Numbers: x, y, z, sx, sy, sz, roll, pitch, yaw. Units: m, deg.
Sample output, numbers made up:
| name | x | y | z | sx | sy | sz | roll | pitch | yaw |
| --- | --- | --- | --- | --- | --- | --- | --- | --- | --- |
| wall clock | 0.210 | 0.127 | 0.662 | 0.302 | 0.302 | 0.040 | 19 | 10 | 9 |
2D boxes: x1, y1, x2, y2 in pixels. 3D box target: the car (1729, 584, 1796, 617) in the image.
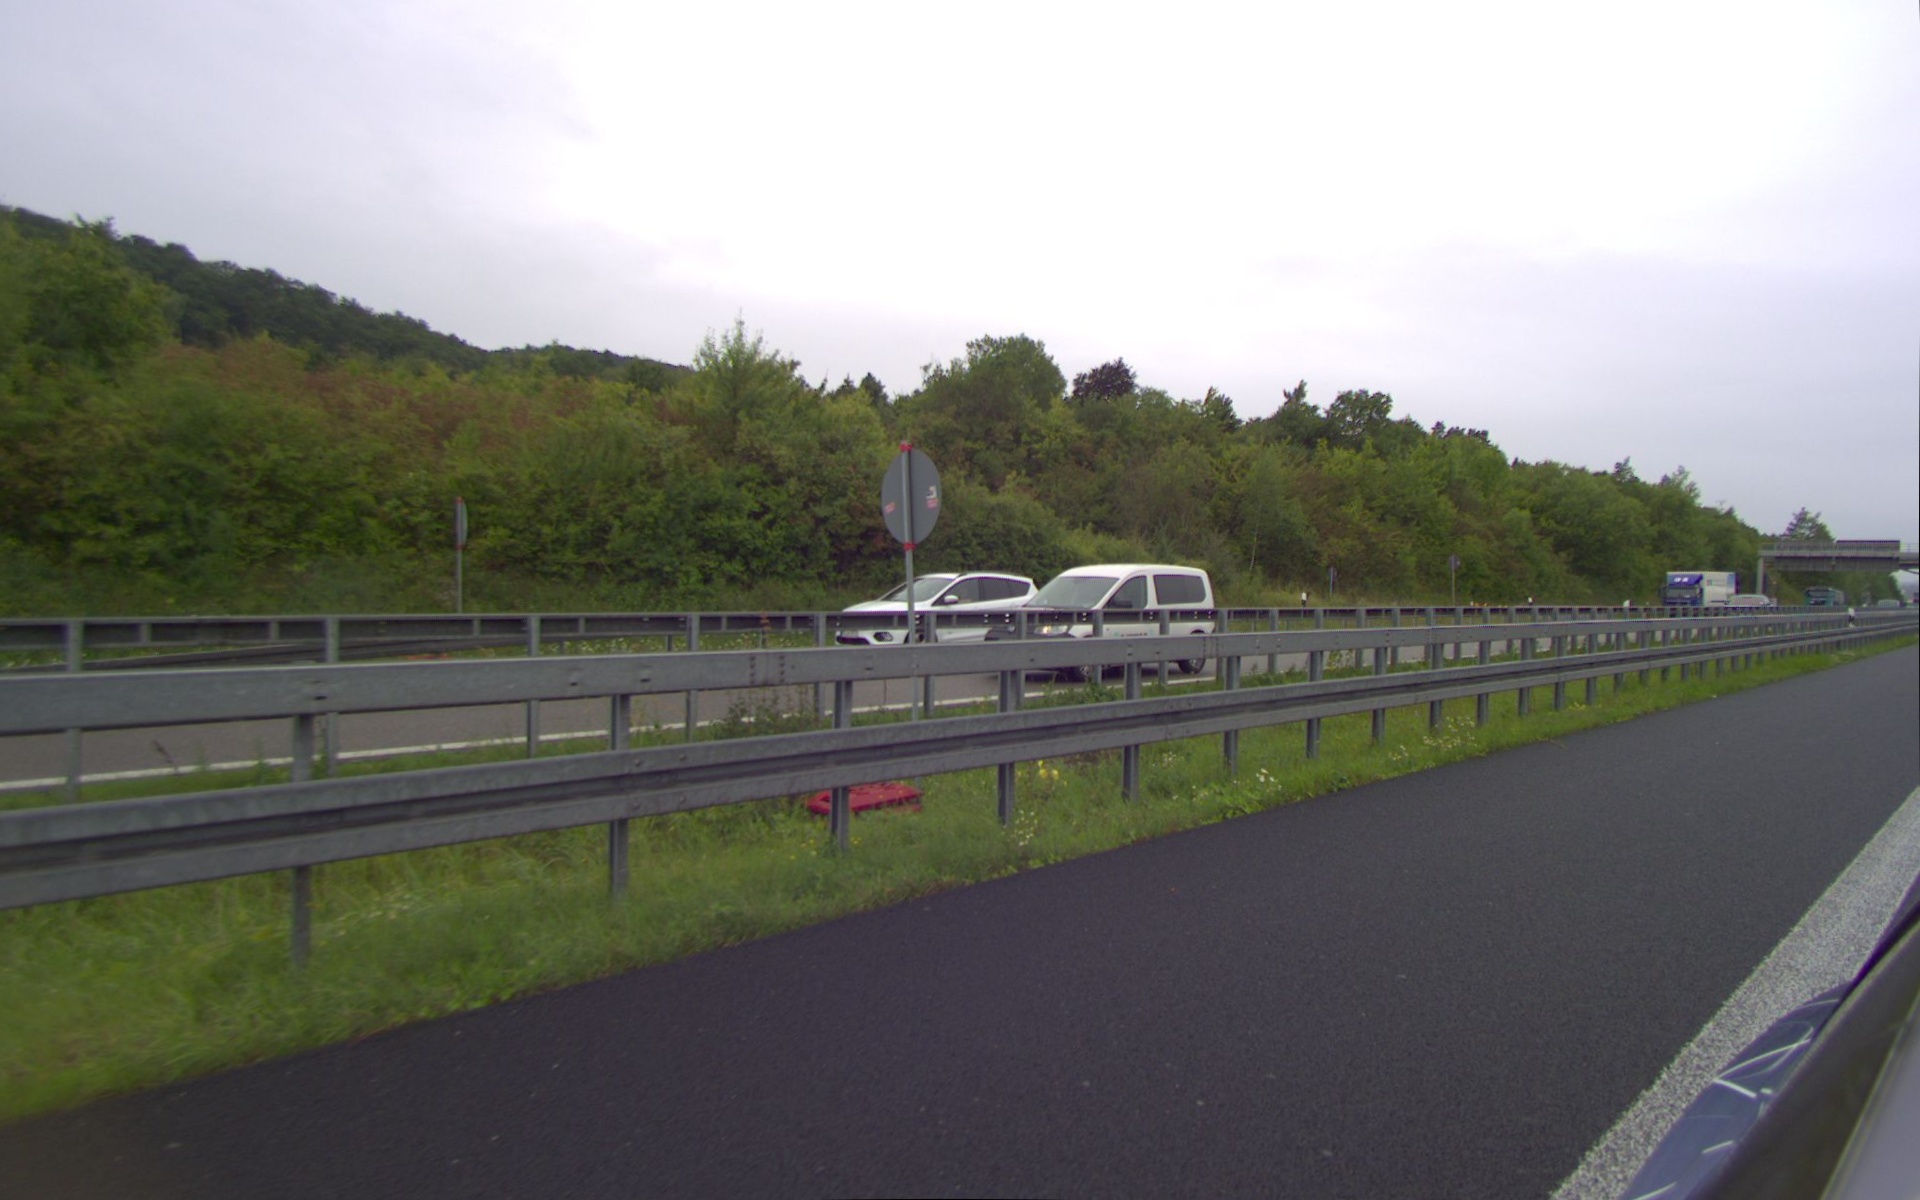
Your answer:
| name | x | y | z | sx | sy | sz | roll | pitch | yaw |
| --- | --- | --- | --- | --- | --- | --- | --- | --- | --- |
| car | 42.868 | 0.001 | 54.027 | 4.394 | 1.676 | 2.011 | 0 | 1 | -41 |

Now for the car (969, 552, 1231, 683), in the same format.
| name | x | y | z | sx | sy | sz | roll | pitch | yaw |
| --- | --- | --- | --- | --- | --- | --- | --- | --- | --- |
| car | 2.363 | 0.216 | 16.423 | 4.203 | 1.837 | 2.010 | 0 | 1 | -42 |

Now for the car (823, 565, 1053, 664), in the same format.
| name | x | y | z | sx | sy | sz | roll | pitch | yaw |
| --- | --- | --- | --- | --- | --- | --- | --- | --- | --- |
| car | -0.332 | 0.212 | 18.841 | 4.076 | 1.633 | 1.898 | 0 | 1 | -43 |

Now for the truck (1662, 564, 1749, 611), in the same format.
| name | x | y | z | sx | sy | sz | roll | pitch | yaw |
| --- | --- | --- | --- | --- | --- | --- | --- | --- | --- |
| truck | 57.958 | -0.982 | 78.589 | 9.109 | 3.460 | 2.910 | 0 | 1 | -37 |

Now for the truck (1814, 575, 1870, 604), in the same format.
| name | x | y | z | sx | sy | sz | roll | pitch | yaw |
| --- | --- | --- | --- | --- | --- | --- | --- | --- | --- |
| truck | 108.162 | -1.308 | 123.971 | 13.112 | 3.460 | 2.908 | 0 | 1 | -39 |
